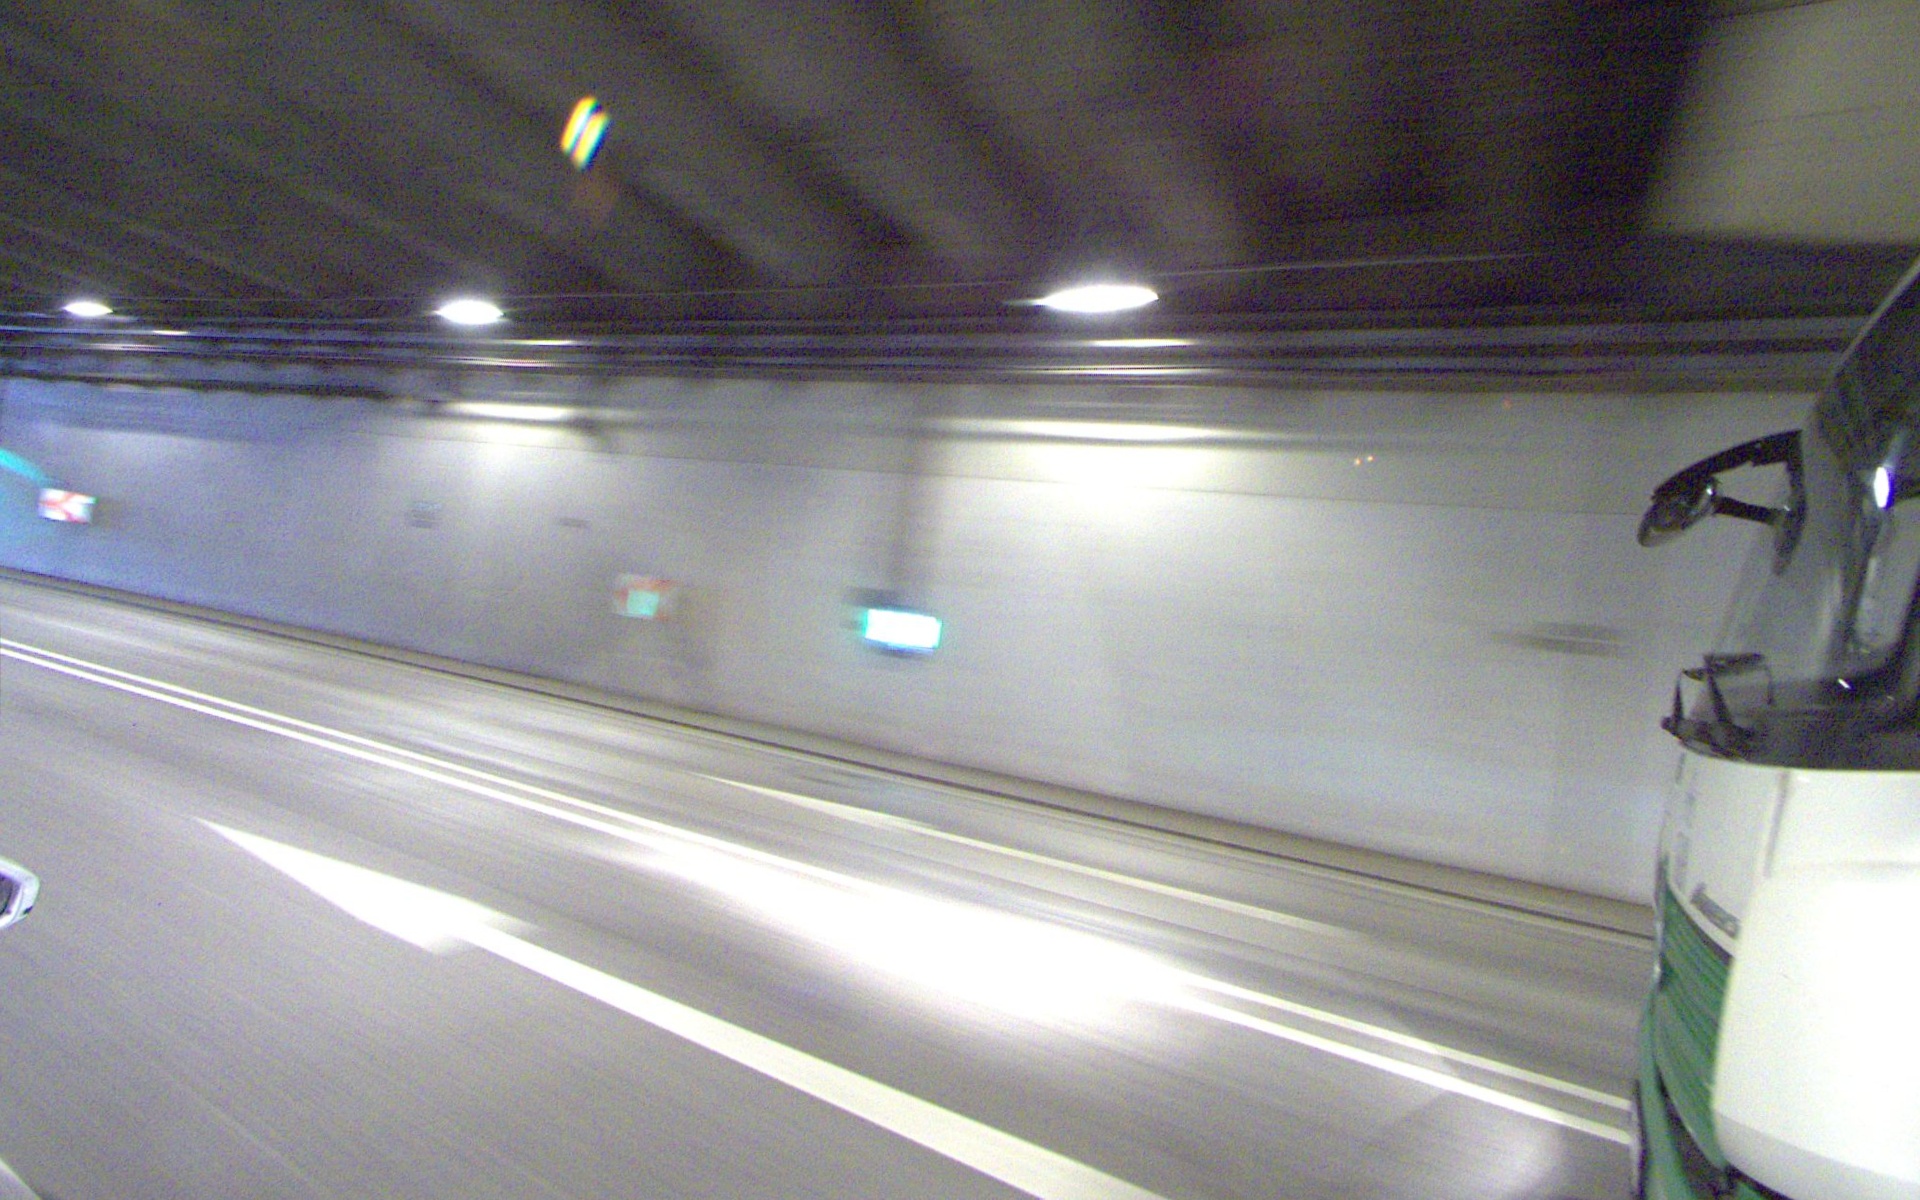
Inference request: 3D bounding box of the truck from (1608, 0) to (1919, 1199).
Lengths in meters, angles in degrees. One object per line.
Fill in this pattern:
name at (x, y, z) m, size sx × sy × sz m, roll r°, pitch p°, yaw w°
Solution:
truck at (4.653, 0.443, 0.368) m, size 7.128 × 3.218 × 2.557 m, roll 6°, pitch -1°, yaw 33°
